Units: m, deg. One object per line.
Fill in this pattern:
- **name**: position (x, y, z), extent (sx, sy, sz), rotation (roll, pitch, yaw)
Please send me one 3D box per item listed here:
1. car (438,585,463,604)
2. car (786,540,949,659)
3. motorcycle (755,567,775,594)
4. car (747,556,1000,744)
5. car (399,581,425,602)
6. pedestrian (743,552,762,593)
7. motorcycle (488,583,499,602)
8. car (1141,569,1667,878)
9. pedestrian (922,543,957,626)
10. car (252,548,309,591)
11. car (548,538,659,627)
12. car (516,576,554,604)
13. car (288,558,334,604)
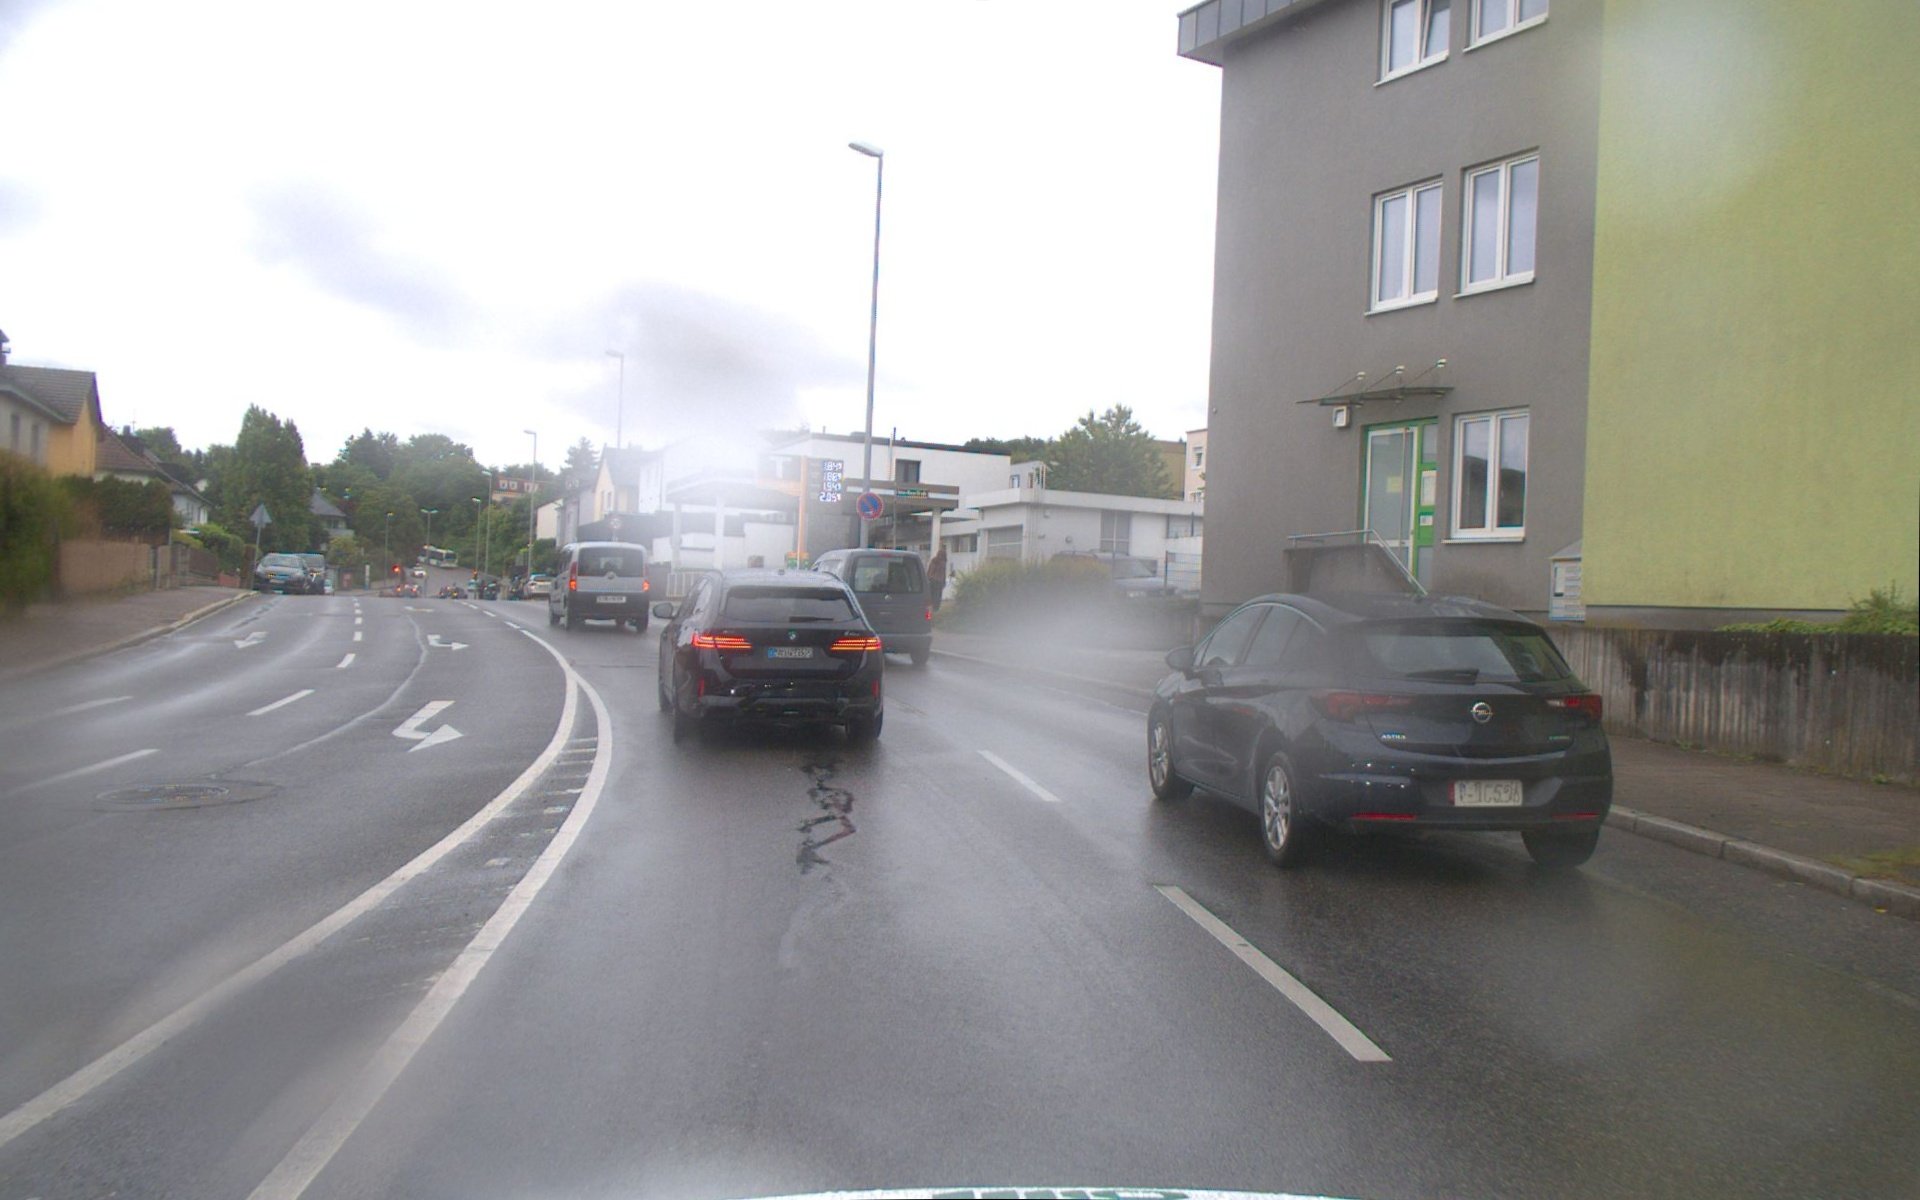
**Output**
- **car**: position (-50.415, -0.545, 163.520), extent (1.966, 1.771, 3.972), rotation (3, -1, -23)
- **car**: position (-1.640, 0.024, 27.915), extent (1.809, 1.798, 3.981), rotation (2, -1, -17)
- **motorcycle**: position (-8.055, -0.800, 68.306), extent (0.455, 1.074, 1.382), rotation (2, -1, -20)
- **car**: position (-0.959, 0.453, 15.783), extent (1.957, 1.510, 3.991), rotation (2, -1, -9)
- **car**: position (-49.966, -0.779, 150.830), extent (1.961, 1.771, 3.982), rotation (2, -1, -16)
- **pedestrian**: position (-8.586, -1.136, 68.379), extent (0.601, 1.685, 0.582), rotation (2, -1, -20)
- **motorcycle**: position (-37.291, -0.586, 132.075), extent (0.693, 1.536, 2.138), rotation (0, 0, -20)
- **car**: position (2.424, 0.604, 10.139), extent (1.723, 1.474, 3.994), rotation (2, 0, -7)
- **pedestrian**: position (-0.521, -0.380, 41.576), extent (0.703, 2.049, 0.613), rotation (2, -1, -11)
- **car**: position (-25.833, -1.144, 62.968), extent (1.724, 1.465, 4.106), rotation (2, -1, -19)
- **car**: position (-7.855, -0.346, 36.195), extent (1.962, 1.768, 3.980), rotation (2, -1, -18)
- **car**: position (-25.479, -0.590, 99.008), extent (1.676, 1.536, 4.507), rotation (2, -1, -20)
- **car**: position (-30.995, -0.846, 78.887), extent (1.886, 2.038, 5.052), rotation (2, -1, -22)
